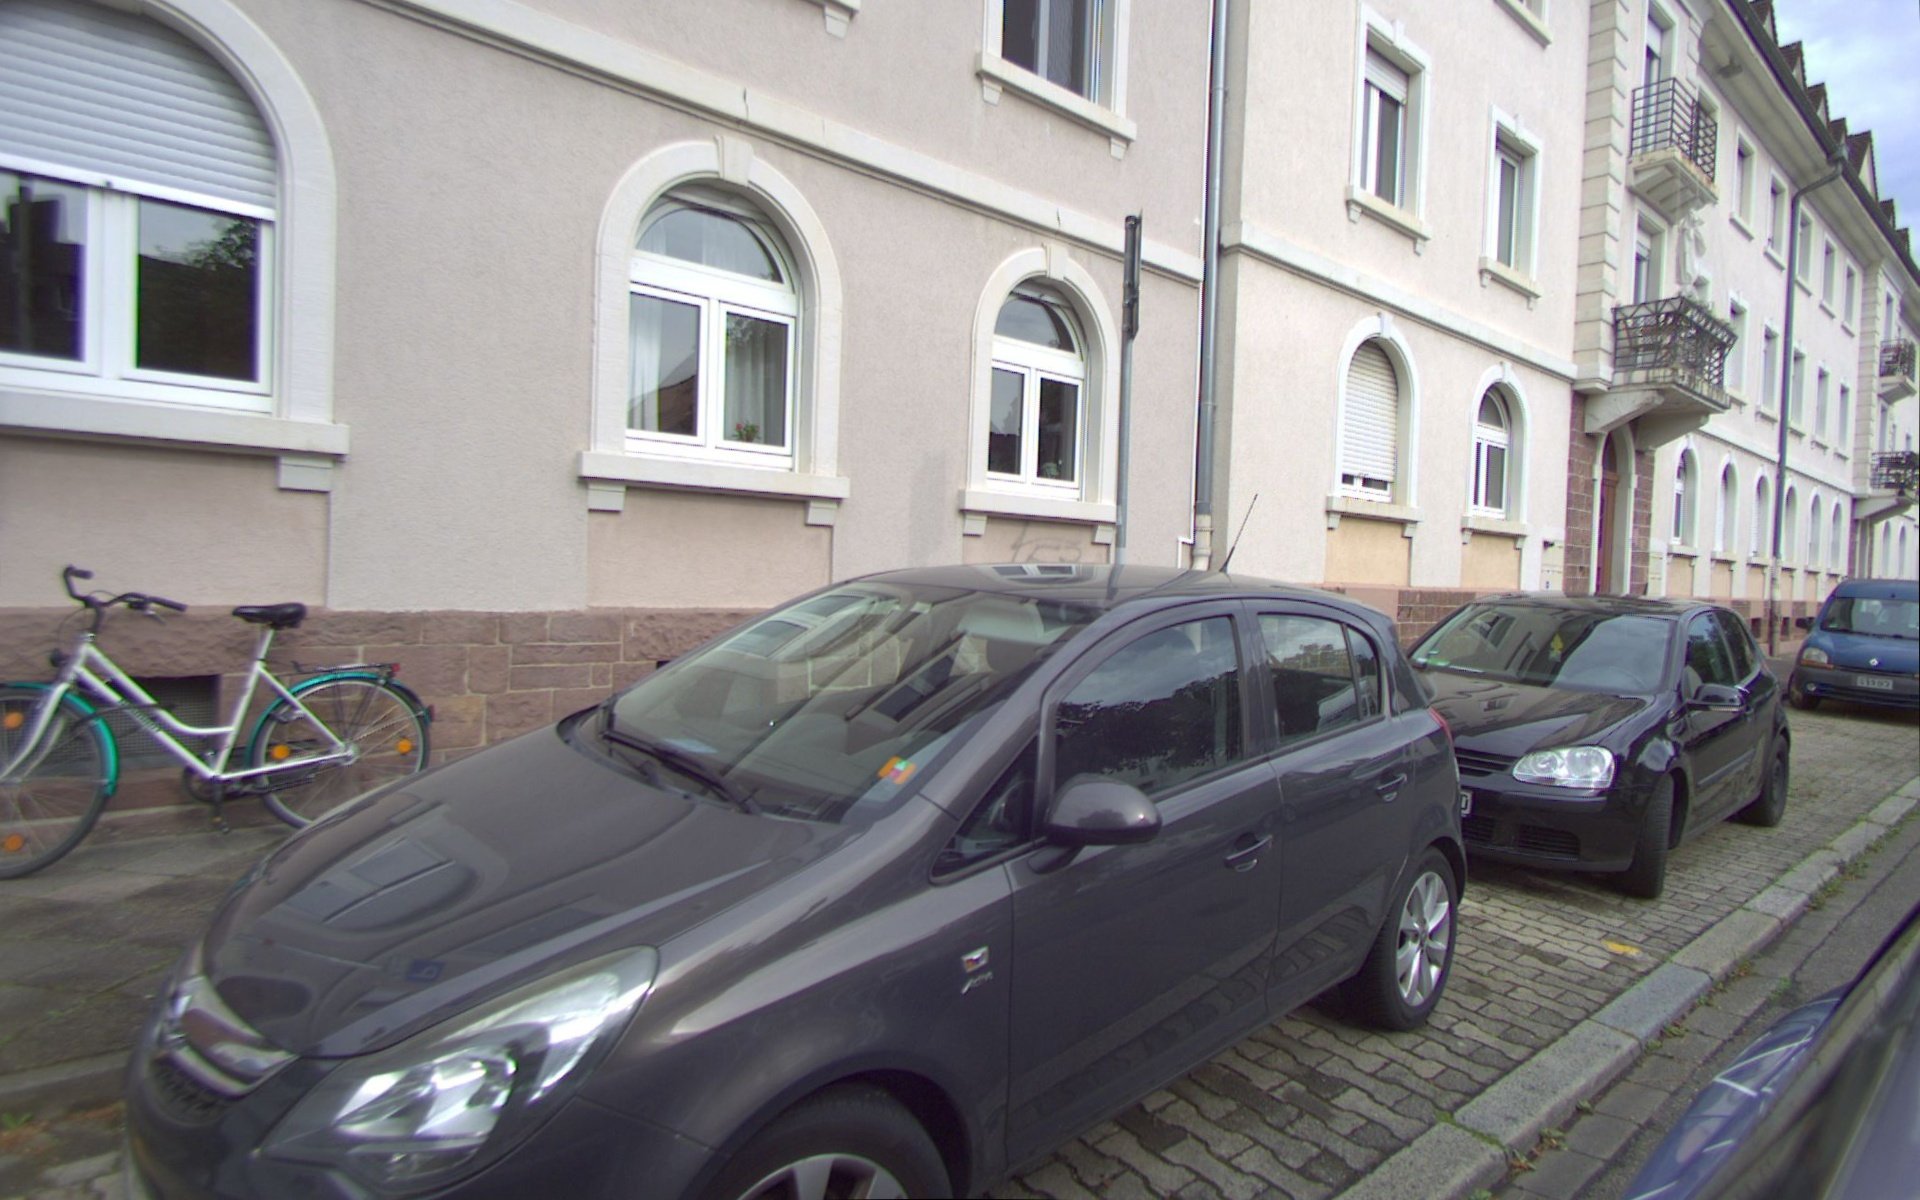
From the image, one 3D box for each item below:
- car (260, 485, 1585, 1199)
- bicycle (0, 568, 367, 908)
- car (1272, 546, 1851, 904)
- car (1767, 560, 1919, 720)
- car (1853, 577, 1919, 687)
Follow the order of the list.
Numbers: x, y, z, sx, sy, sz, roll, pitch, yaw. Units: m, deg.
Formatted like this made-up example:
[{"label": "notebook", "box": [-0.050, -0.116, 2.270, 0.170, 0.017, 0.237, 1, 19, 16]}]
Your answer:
[{"label": "car", "box": [0.315, 0.575, 3.113, 3.835, 1.471, 1.691, 1, 4, -43]}, {"label": "bicycle", "box": [-3.082, 0.493, 4.073, 1.136, 1.197, 0.319, 1, 2, -42]}, {"label": "car", "box": [4.052, 0.561, 6.458, 4.463, 1.471, 1.693, 2, 4, -40]}, {"label": "car", "box": [12.681, 0.512, 13.634, 4.111, 1.806, 1.943, 1, 4, -40]}, {"label": "car", "box": [16.707, 0.594, 17.043, 4.054, 1.656, 1.776, 2, 5, -40]}]
